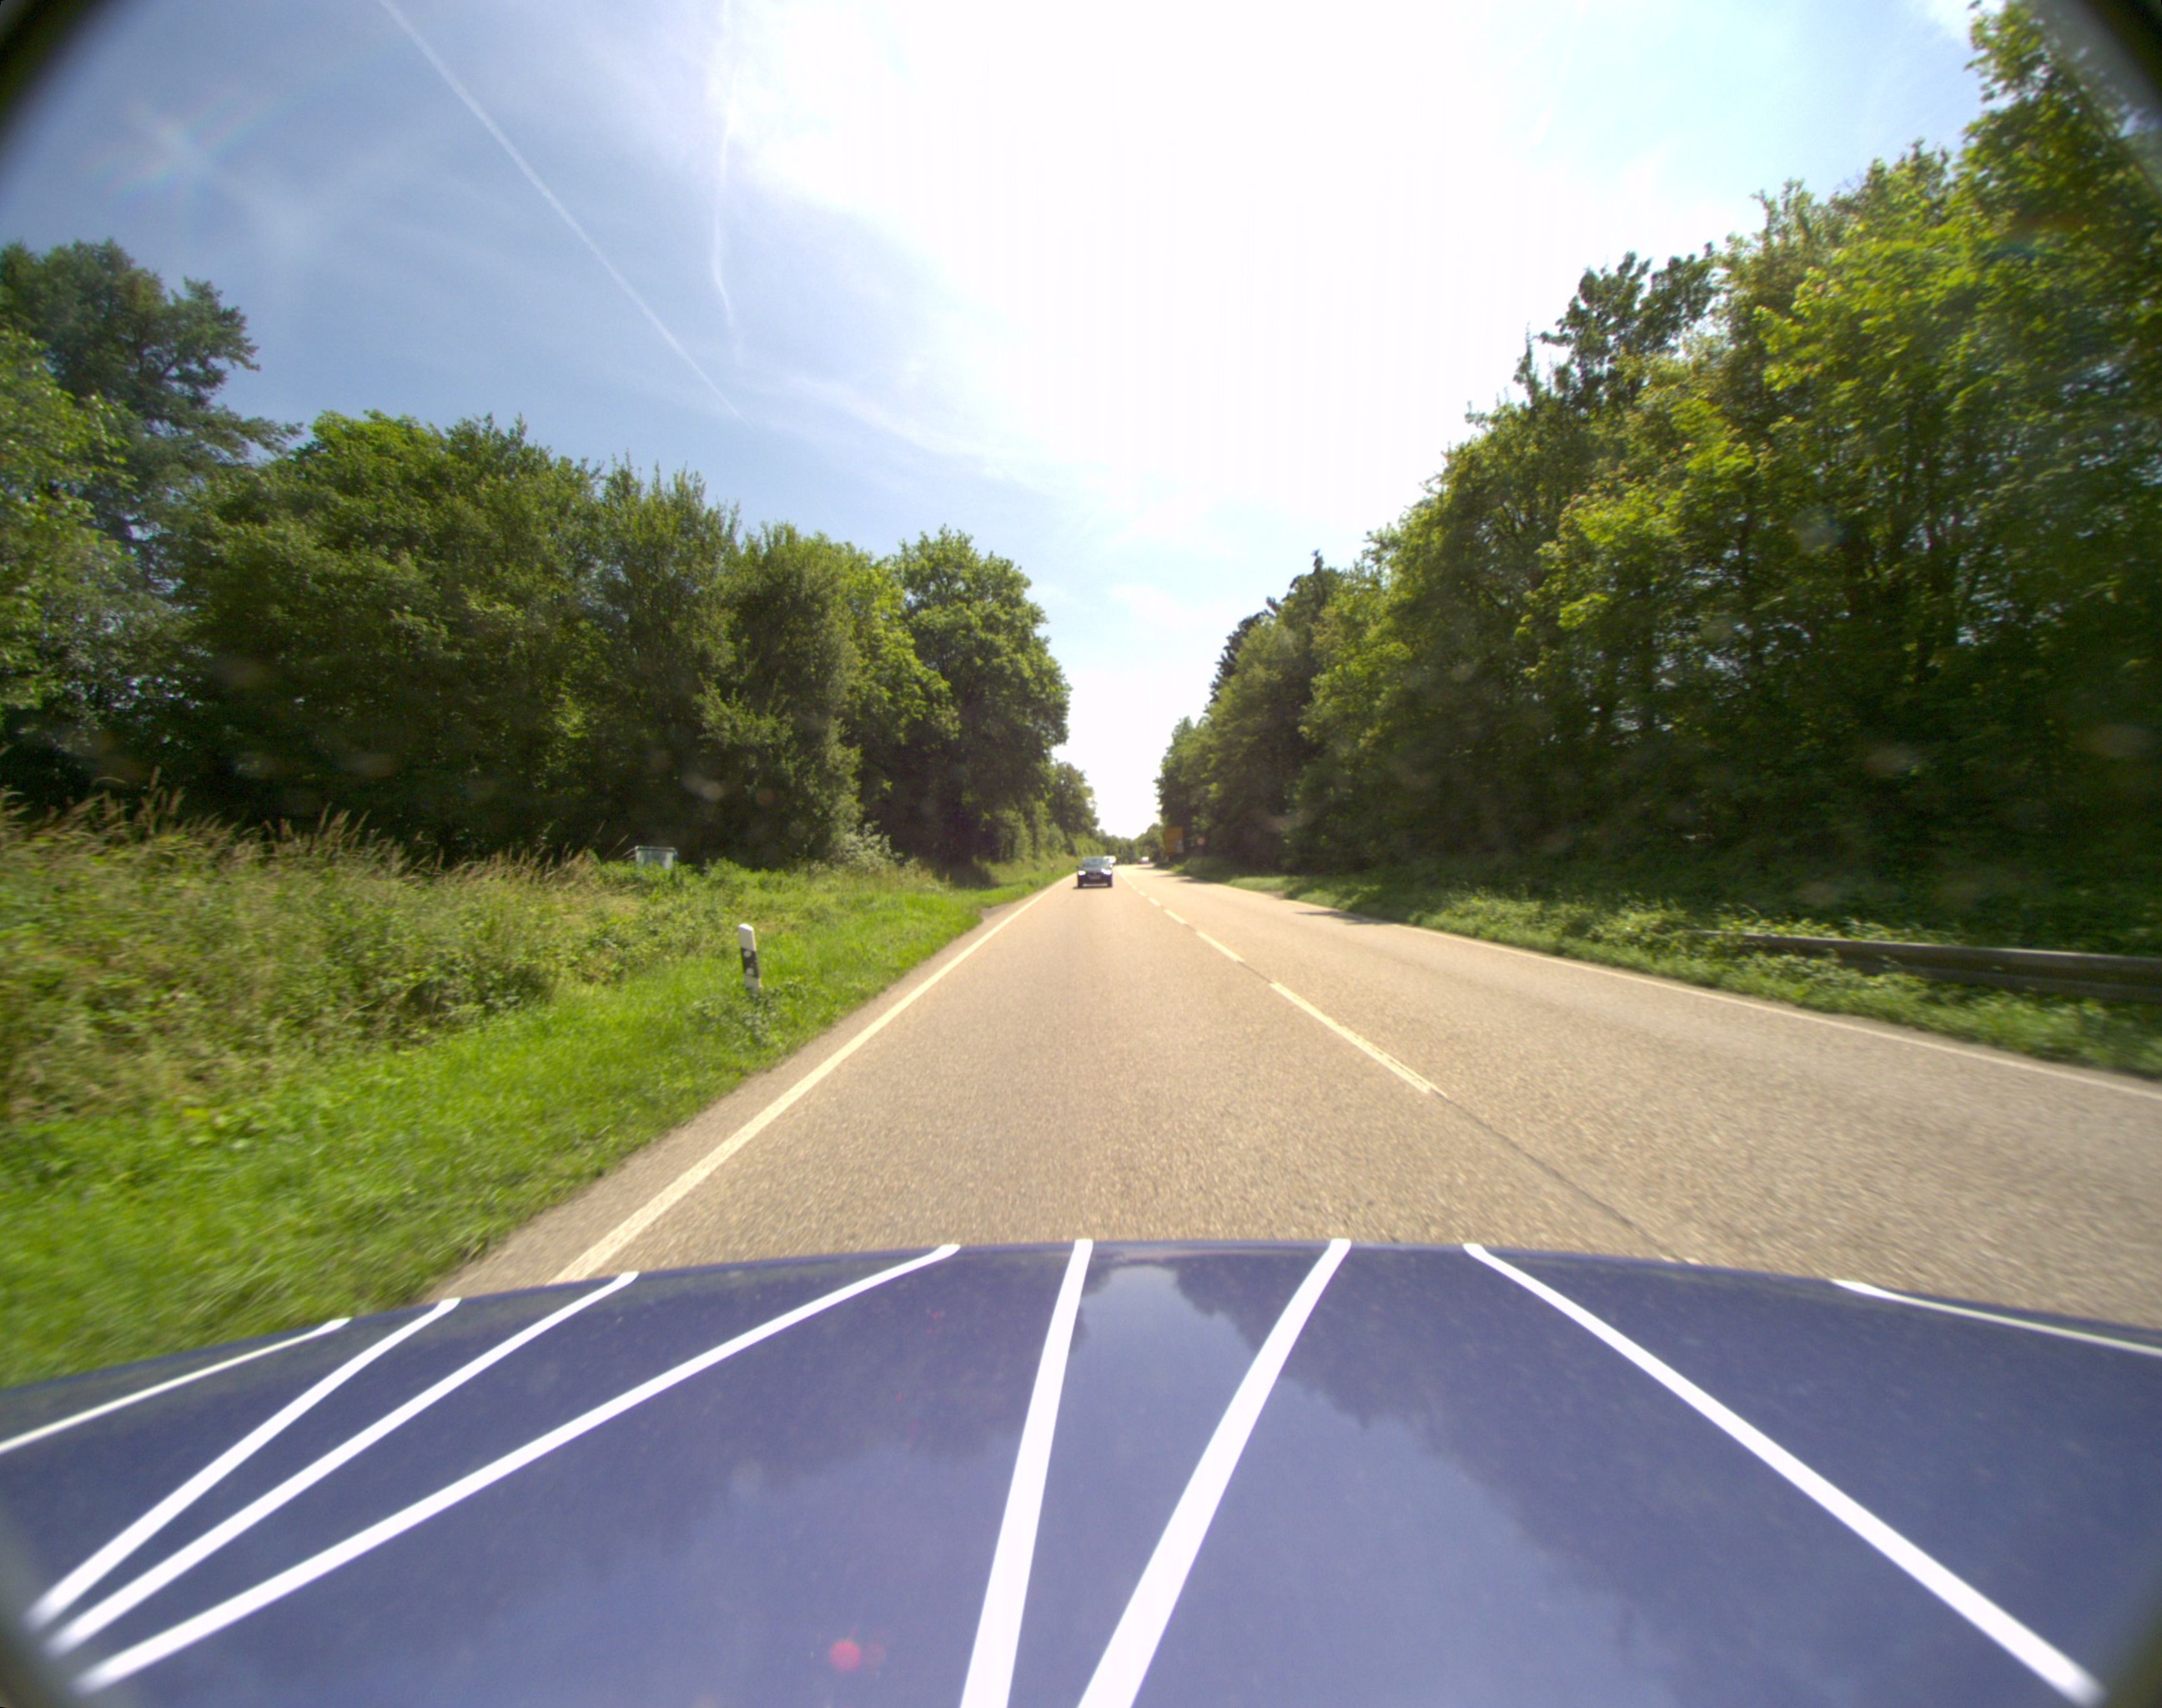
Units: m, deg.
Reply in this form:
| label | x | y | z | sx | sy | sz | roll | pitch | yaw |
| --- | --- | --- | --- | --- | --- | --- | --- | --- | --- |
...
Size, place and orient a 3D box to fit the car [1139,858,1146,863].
| label | x | y | z | sx | sy | sz | roll | pitch | yaw |
| --- | --- | --- | --- | --- | --- | --- | --- | --- | --- |
| car | 17.972 | 1.989 | 222.294 | 1.807 | 1.444 | 4.390 | -2 | -1 | 8 |

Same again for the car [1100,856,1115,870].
| label | x | y | z | sx | sy | sz | roll | pitch | yaw |
| --- | --- | --- | --- | --- | --- | --- | --- | --- | --- |
| car | 3.526 | 1.159 | 100.769 | 1.770 | 1.673 | 4.002 | -4 | -2 | 2 |

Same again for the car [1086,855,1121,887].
| label | x | y | z | sx | sy | sz | roll | pitch | yaw |
| --- | --- | --- | --- | --- | --- | --- | --- | --- | --- |
| car | 1.136 | 0.841 | 38.580 | 1.626 | 1.535 | 4.001 | -2 | 0 | 2 |
